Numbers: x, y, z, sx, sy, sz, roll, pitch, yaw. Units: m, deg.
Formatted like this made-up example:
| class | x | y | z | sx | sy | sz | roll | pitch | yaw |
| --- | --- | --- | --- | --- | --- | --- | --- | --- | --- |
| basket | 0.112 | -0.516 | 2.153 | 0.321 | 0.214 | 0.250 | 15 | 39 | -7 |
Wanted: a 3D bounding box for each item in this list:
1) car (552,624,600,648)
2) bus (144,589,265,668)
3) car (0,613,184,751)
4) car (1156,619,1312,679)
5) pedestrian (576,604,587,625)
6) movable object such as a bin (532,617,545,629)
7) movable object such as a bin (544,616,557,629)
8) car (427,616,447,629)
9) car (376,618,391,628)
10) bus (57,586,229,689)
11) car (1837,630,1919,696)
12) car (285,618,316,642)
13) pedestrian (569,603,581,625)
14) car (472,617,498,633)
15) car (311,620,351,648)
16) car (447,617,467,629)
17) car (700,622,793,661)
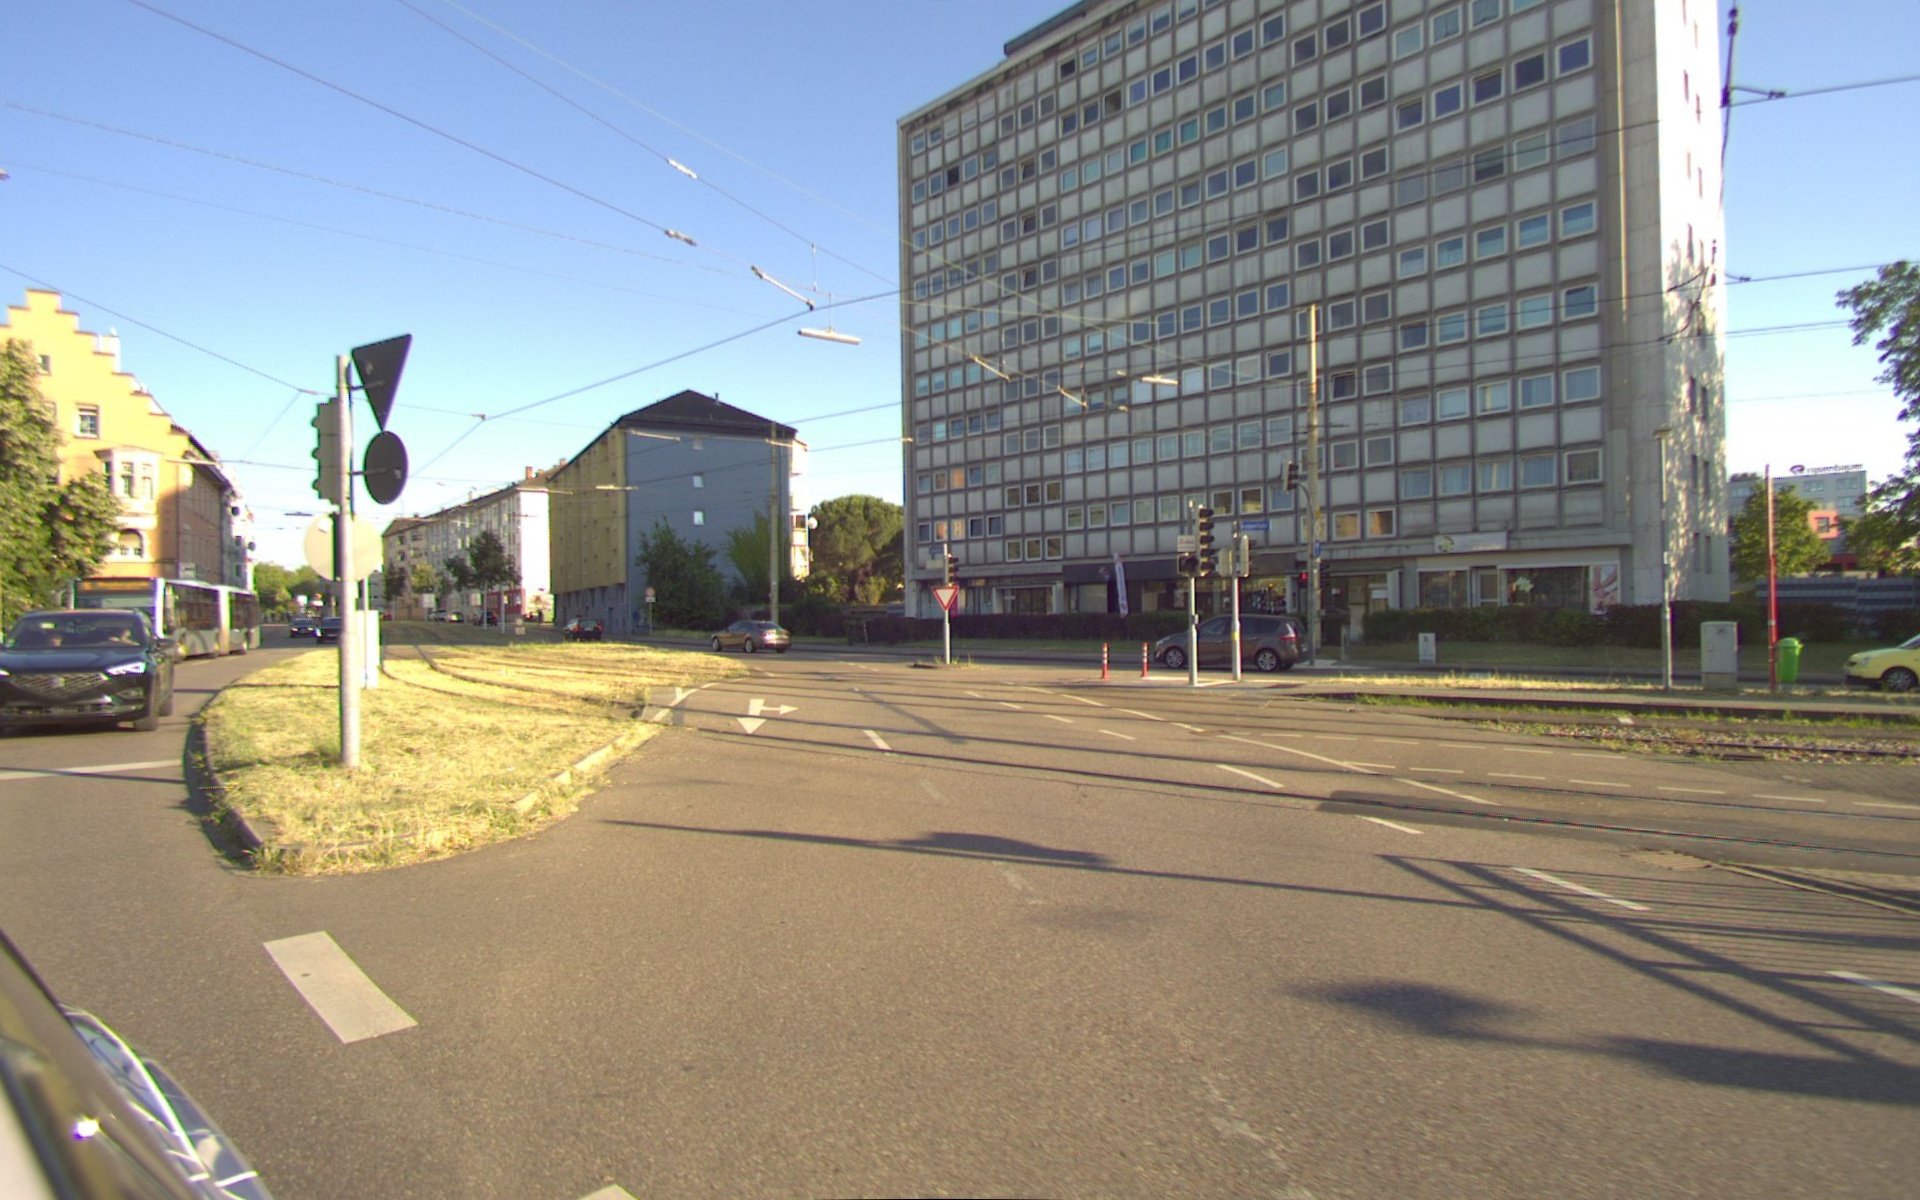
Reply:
| class | x | y | z | sx | sy | sz | roll | pitch | yaw |
| --- | --- | --- | --- | --- | --- | --- | --- | --- | --- |
| car | -24.726 | 2.277 | 65.157 | 1.753 | 1.493 | 4.409 | 2 | -2 | -36 |
| bus | -34.471 | 1.178 | 46.609 | 2.668 | 3.100 | 10.634 | -3 | 1 | -27 |
| car | -12.136 | 1.025 | 14.066 | 1.759 | 1.636 | 4.228 | 1 | -2 | -33 |
| car | 7.975 | 1.384 | 29.628 | 4.140 | 1.607 | 1.568 | -1 | 0 | 33 |
| pedestrian | -31.388 | 1.182 | 83.890 | 0.608 | 1.707 | 0.708 | -5 | 1 | -32 |
| movable object such as a bin | -49.877 | 2.684 | 119.785 | 1.200 | 1.426 | 1.141 | 0 | -1 | -36 |
| movable object such as a bin | -48.778 | 2.677 | 120.601 | 1.200 | 1.426 | 1.111 | 0 | -1 | -36 |
| car | -76.534 | 3.318 | 148.090 | 1.843 | 1.843 | 4.429 | 0 | -1 | -39 |
| car | -95.634 | 3.785 | 167.892 | 1.769 | 1.480 | 4.808 | 2 | -2 | -34 |
| bus | -29.534 | 1.153 | 37.144 | 2.686 | 3.100 | 10.635 | -3 | 2 | -27 |
| car | 21.114 | 1.314 | 21.411 | 3.578 | 1.350 | 1.535 | -1 | -1 | 29 |
| car | -52.436 | 2.365 | 80.483 | 1.860 | 1.896 | 4.012 | 1 | -2 | -31 |
| pedestrian | -31.579 | 1.150 | 83.020 | 0.585 | 1.786 | 0.888 | -5 | 1 | -32 |
| car | -51.611 | 2.742 | 109.936 | 1.892 | 1.674 | 4.721 | 1 | -2 | -33 |
| car | -40.890 | 2.215 | 65.850 | 1.966 | 1.785 | 4.012 | 1 | -2 | -29 |
| car | -62.598 | 2.844 | 125.896 | 1.674 | 1.471 | 4.327 | 2 | -2 | -34 |
| car | -9.436 | 1.772 | 44.495 | 4.586 | 1.608 | 1.634 | -1 | -1 | 43 |
